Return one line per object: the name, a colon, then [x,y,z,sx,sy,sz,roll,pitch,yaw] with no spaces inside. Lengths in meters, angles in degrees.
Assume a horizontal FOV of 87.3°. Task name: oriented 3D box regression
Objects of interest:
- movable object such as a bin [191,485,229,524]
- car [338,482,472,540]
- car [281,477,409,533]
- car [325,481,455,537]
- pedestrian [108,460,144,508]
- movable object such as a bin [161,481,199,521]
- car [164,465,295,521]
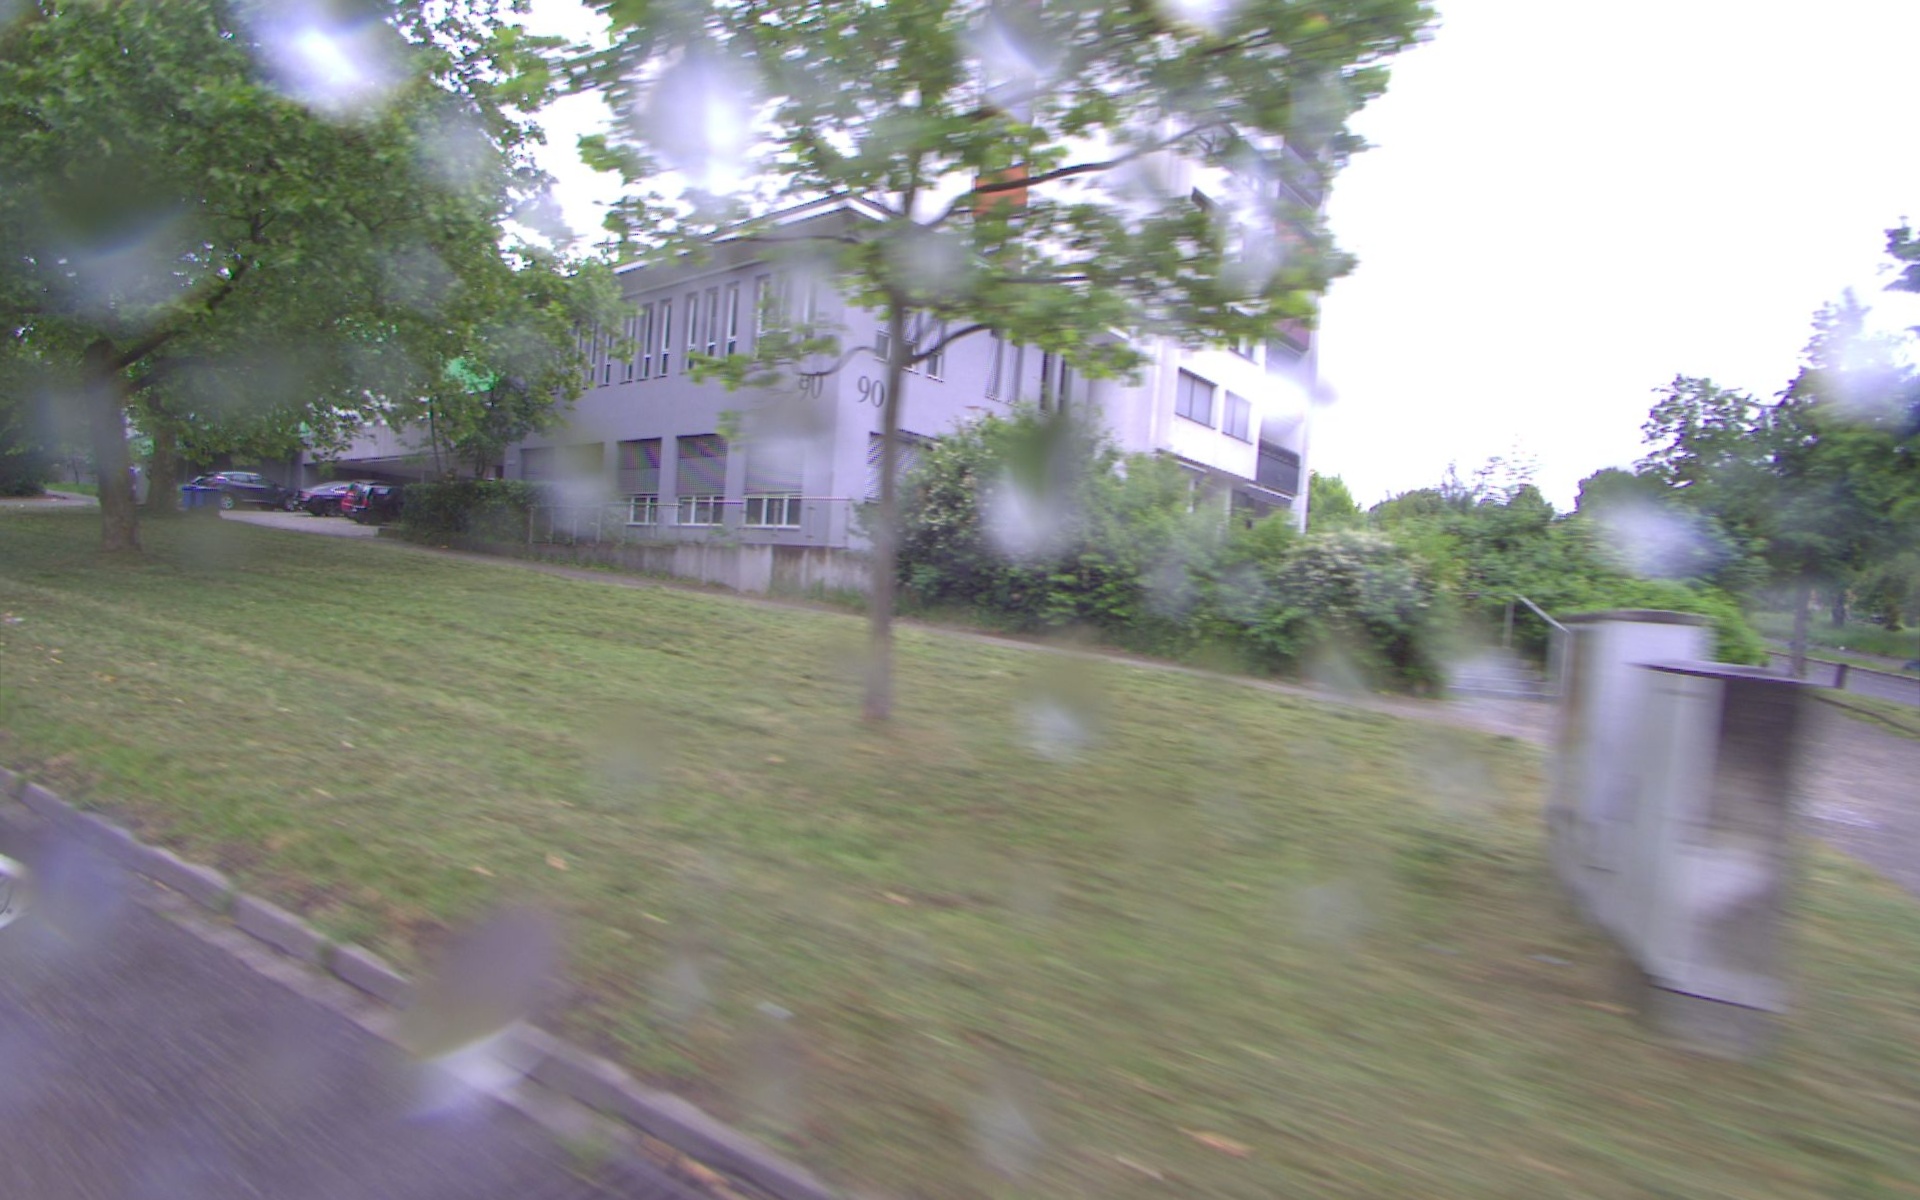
movable object such as a bin: [-24.163,-3.067,32.405,0.651,1.134,0.669,6,-1,29]
car: [-21.013,-3.358,38.206,1.972,1.661,3.978,7,2,41]
car: [-24.938,-3.838,40.885,1.972,1.773,3.978,7,2,41]
car: [-22.648,-3.603,40.073,1.930,1.684,3.981,7,2,38]
pedestrian: [-32.685,-4.539,39.428,0.834,1.773,0.663,6,3,16]
movable object such as a bin: [-25.082,-3.180,32.360,0.651,1.134,0.669,6,-1,29]
car: [-30.897,-4.495,42.655,1.965,1.773,3.992,6,2,27]
